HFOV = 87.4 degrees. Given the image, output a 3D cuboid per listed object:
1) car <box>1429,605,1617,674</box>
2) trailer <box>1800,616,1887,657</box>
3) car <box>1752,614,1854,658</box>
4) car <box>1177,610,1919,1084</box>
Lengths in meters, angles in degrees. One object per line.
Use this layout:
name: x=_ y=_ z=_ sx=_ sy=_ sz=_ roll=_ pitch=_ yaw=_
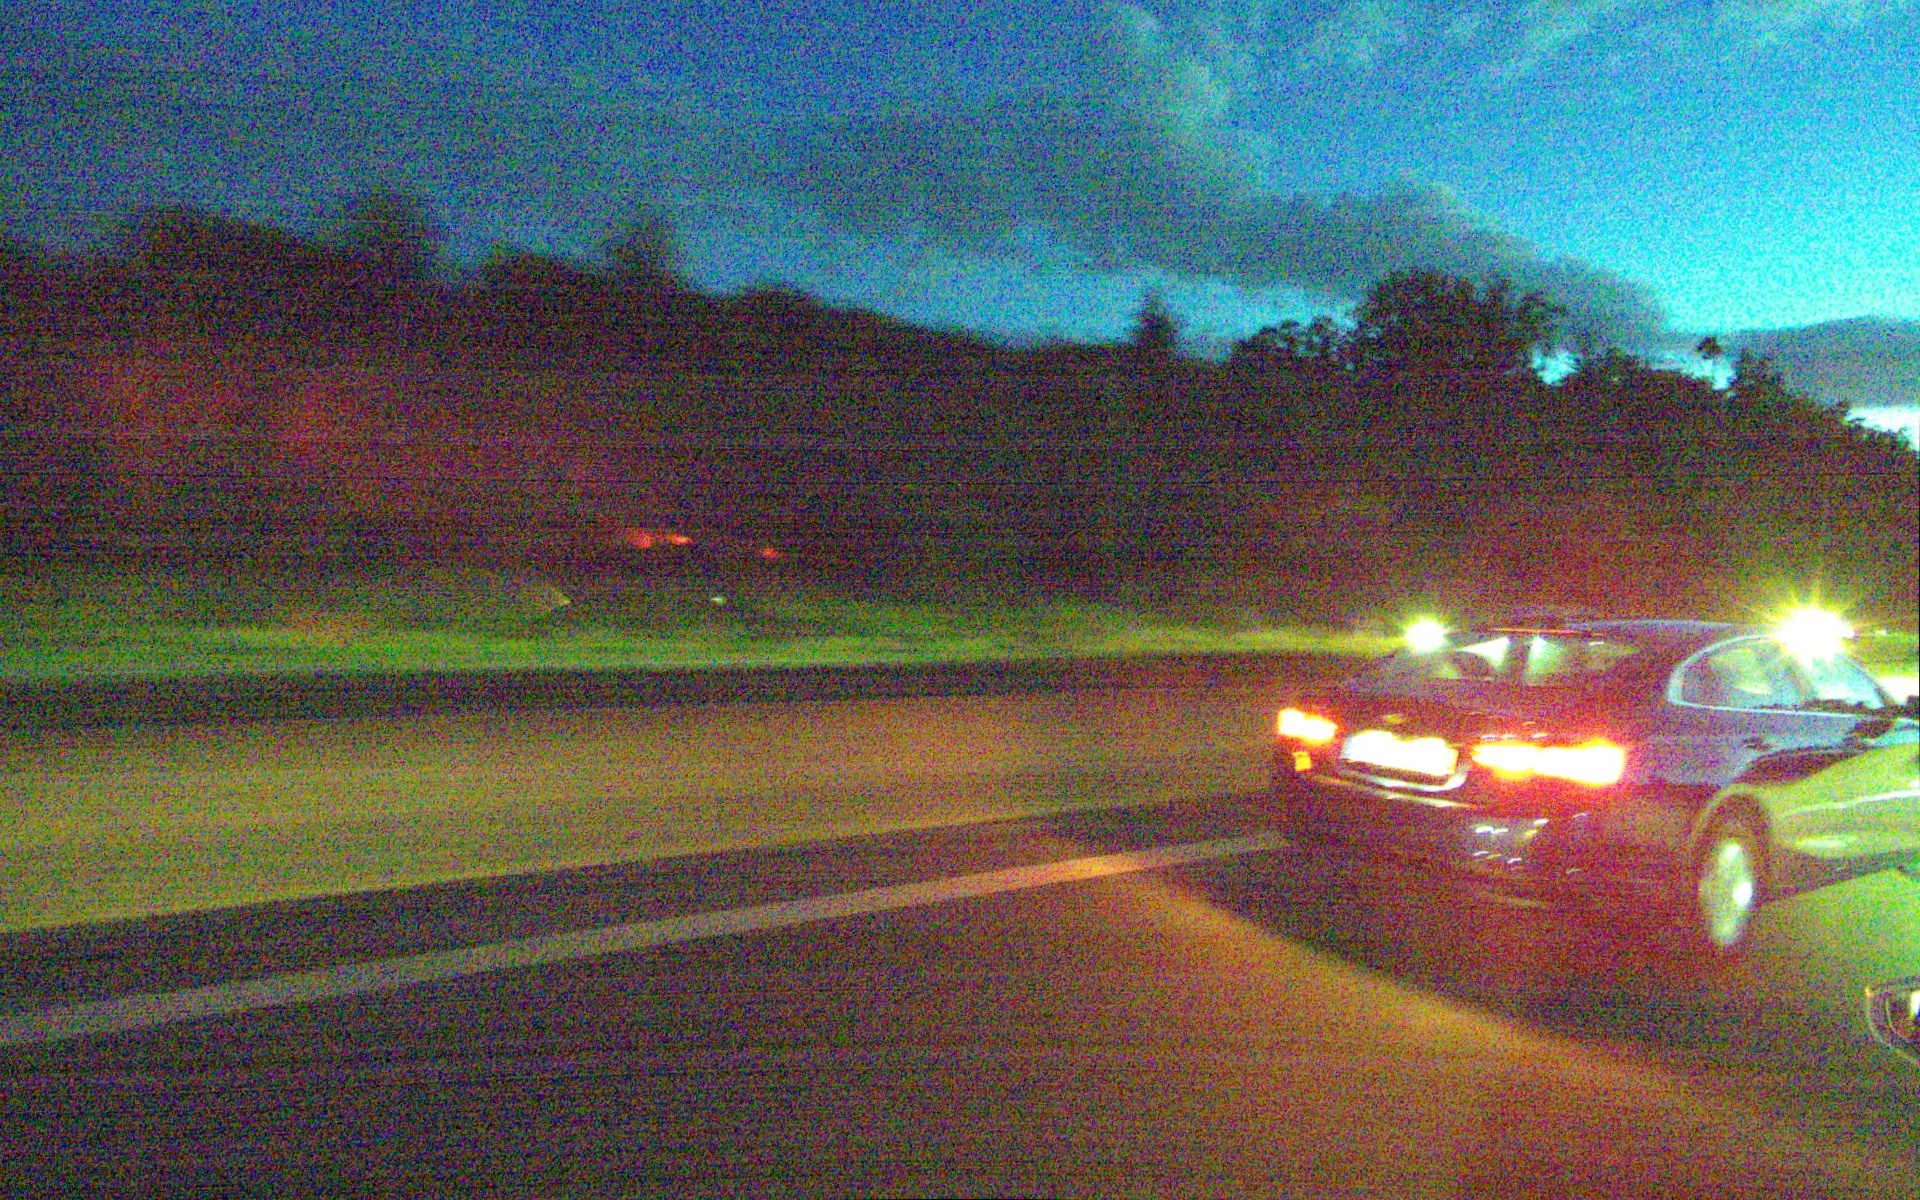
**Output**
car: x=14.682 y=0.983 z=26.151 sx=4.833 sy=1.619 sz=2.232 roll=1 pitch=0 yaw=-32
trailer: x=40.127 y=1.641 z=45.600 sx=3.800 sy=1.770 sz=1.887 roll=1 pitch=0 yaw=-31
car: x=36.425 y=1.541 z=43.370 sx=4.825 sy=1.770 sz=1.904 roll=1 pitch=0 yaw=-31
car: x=4.027 y=0.866 z=5.641 sx=5.581 sy=1.539 sz=1.985 roll=0 pitch=1 yaw=-29
